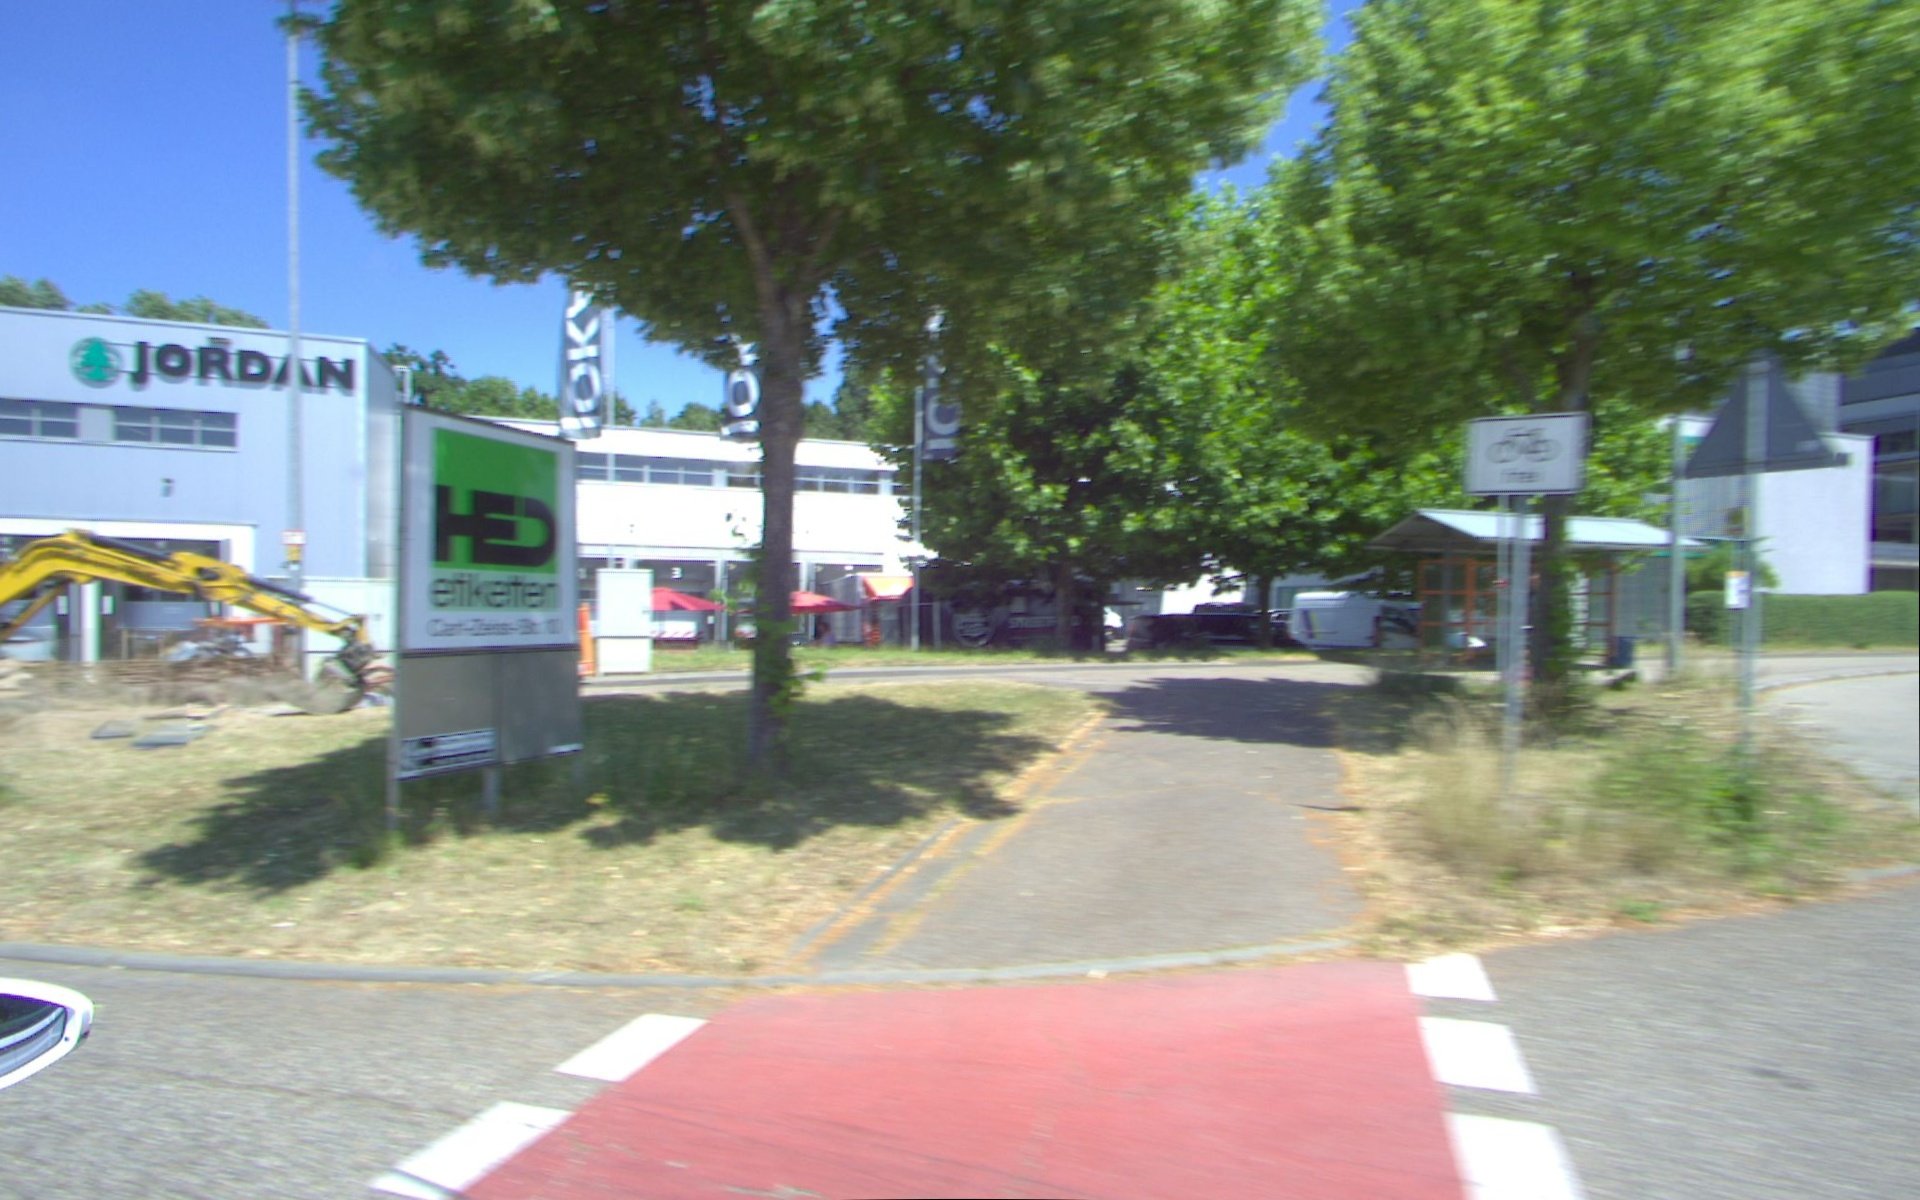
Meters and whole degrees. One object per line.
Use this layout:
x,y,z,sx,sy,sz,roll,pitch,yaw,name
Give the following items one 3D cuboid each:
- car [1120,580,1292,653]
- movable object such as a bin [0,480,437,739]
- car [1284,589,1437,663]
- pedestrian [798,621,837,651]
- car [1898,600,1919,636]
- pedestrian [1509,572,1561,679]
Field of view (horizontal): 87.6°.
6.289,0.388,25.683,3.930,1.751,1.837,-1,0,-18,car
-9.684,0.107,11.142,6.458,2.615,1.997,-2,0,-15,movable object such as a bin
12.027,0.796,30.355,1.527,2.039,4.243,3,-2,-30,car
-3.437,0.871,24.139,0.850,0.704,0.408,0,0,4,pedestrian
38.295,0.681,37.777,1.676,1.397,3.908,-1,-1,-20,car
9.380,0.422,16.336,0.520,1.691,0.579,2,-1,8,pedestrian
